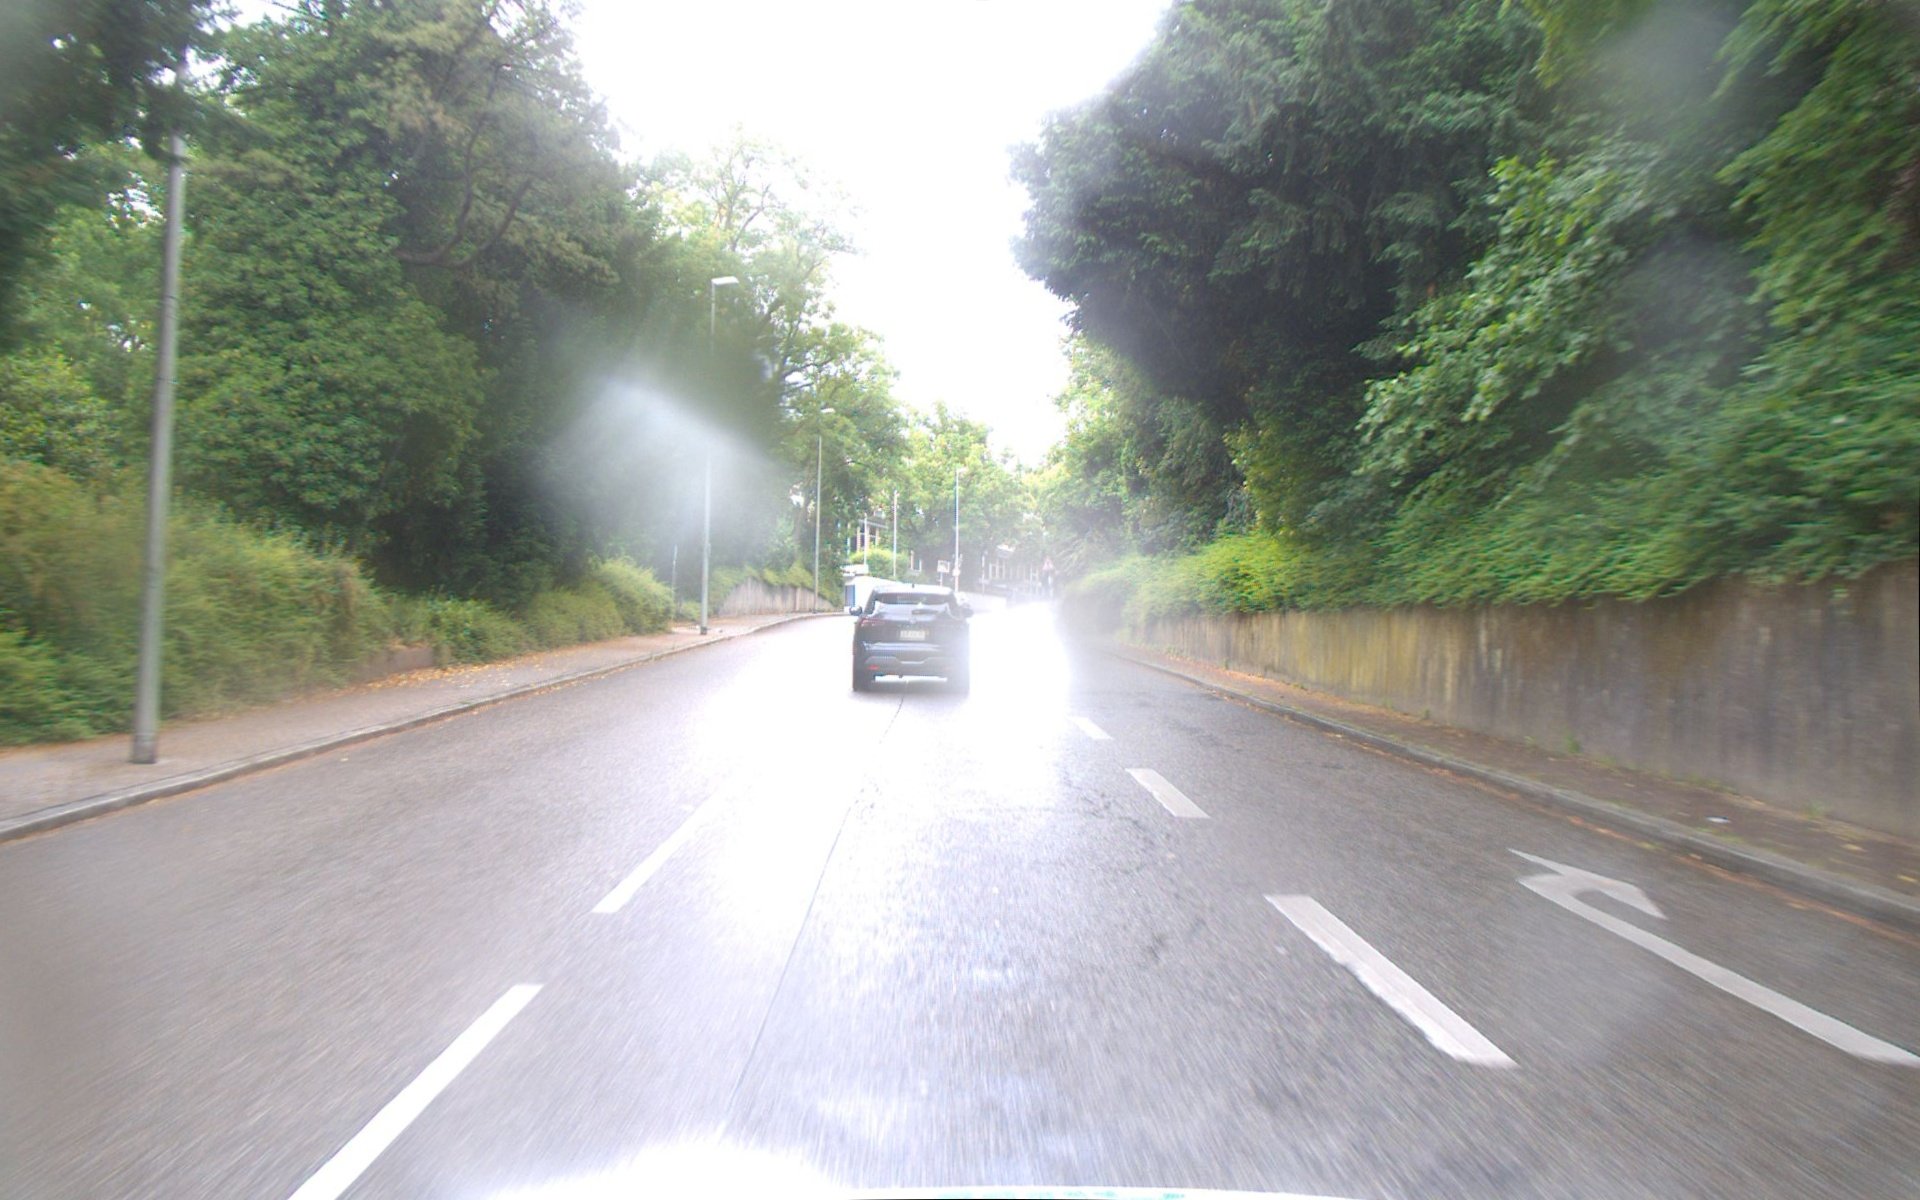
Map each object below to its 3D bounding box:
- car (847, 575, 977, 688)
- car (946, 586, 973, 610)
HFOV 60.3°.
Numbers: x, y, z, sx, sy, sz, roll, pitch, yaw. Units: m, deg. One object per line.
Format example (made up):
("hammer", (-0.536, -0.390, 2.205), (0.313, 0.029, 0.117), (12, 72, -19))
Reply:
("car", (-0.746, 0.447, 26.245), (1.889, 1.641, 3.999), (1, 0, -1))
("car", (-0.043, -0.144, 108.436), (1.641, 1.522, 3.459), (1, 0, -2))
